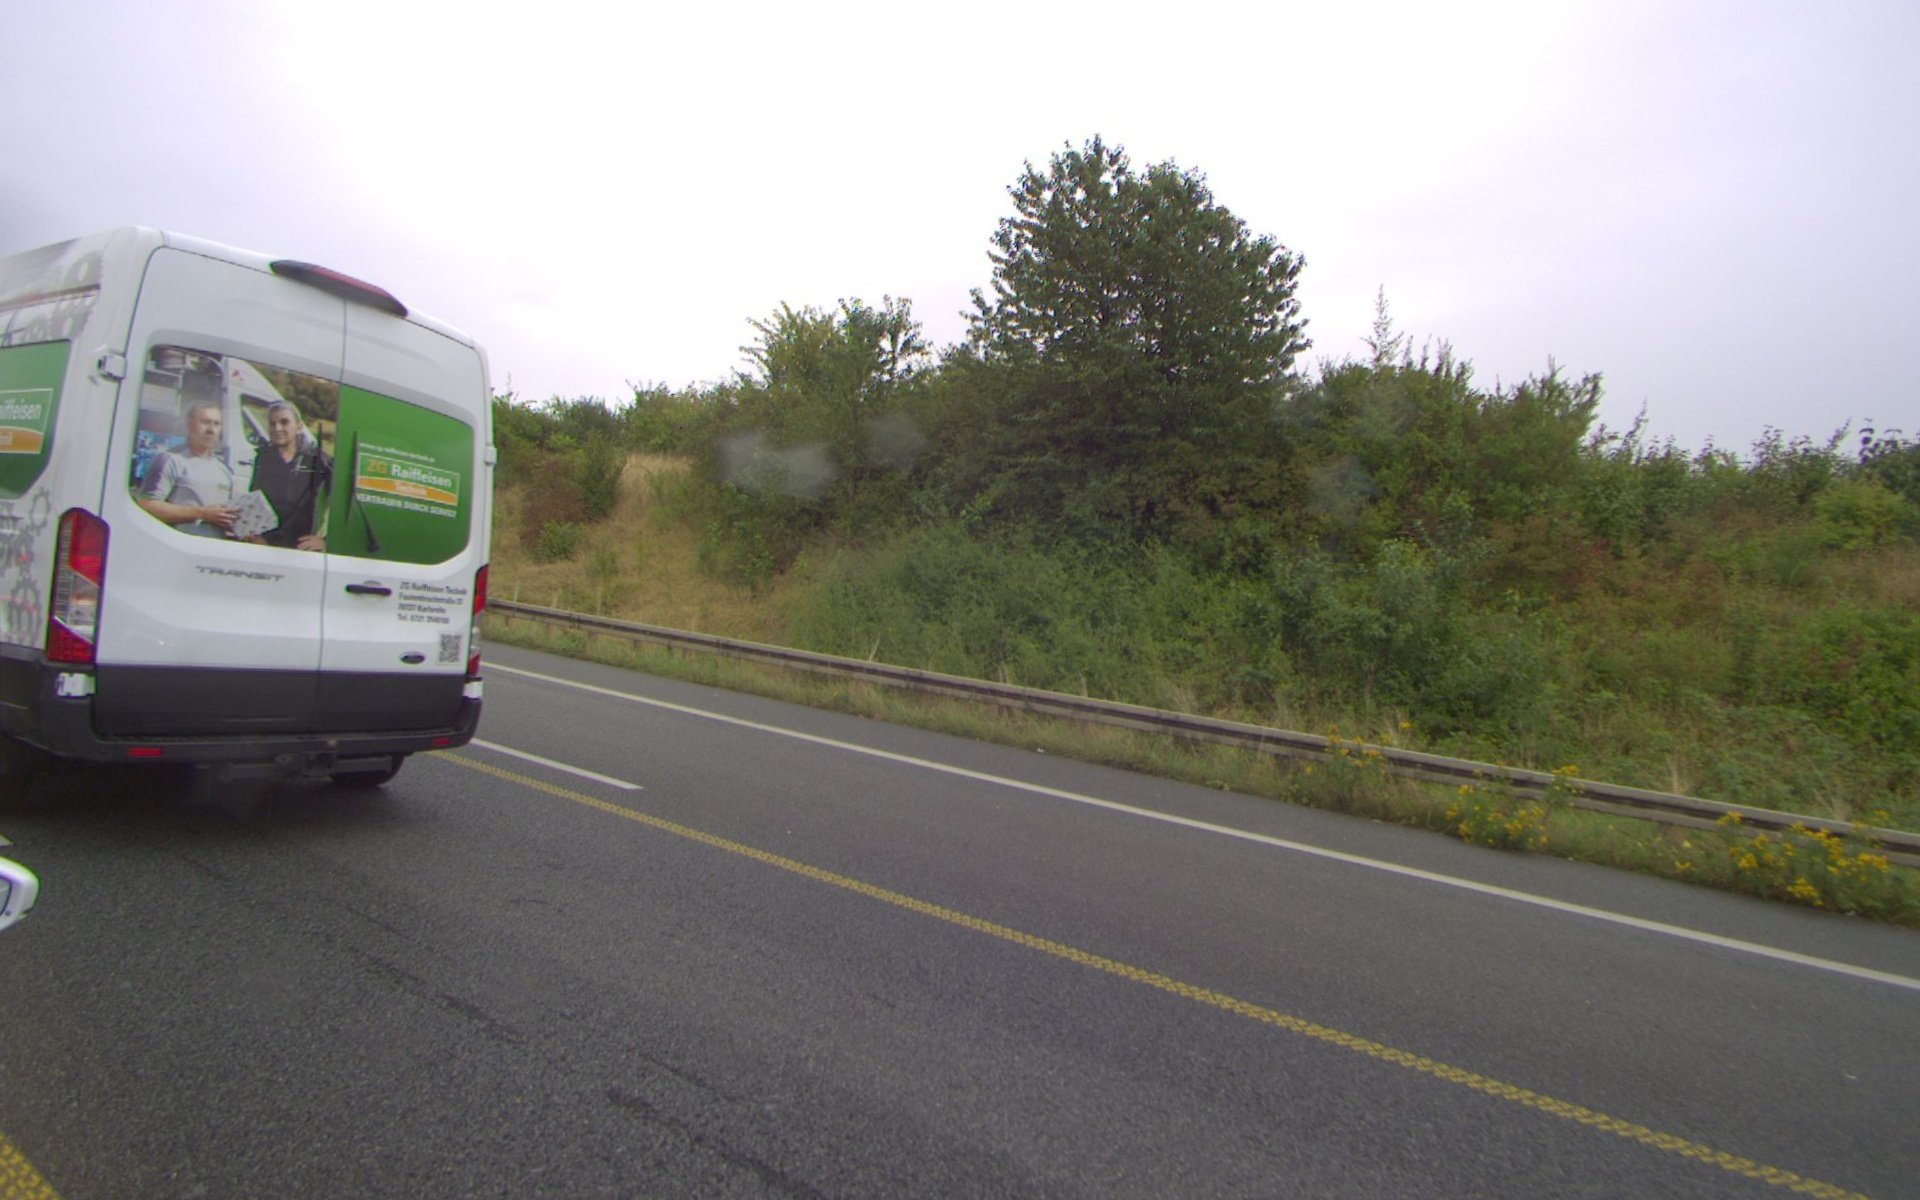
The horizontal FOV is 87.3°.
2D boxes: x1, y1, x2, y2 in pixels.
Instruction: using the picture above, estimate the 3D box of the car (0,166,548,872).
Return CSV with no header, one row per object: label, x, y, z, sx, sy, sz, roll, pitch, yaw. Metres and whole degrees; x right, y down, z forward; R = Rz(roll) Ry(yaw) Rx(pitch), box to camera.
car,-5.412,-0.525,6.301,5.659,2.816,1.997,7,0,31
